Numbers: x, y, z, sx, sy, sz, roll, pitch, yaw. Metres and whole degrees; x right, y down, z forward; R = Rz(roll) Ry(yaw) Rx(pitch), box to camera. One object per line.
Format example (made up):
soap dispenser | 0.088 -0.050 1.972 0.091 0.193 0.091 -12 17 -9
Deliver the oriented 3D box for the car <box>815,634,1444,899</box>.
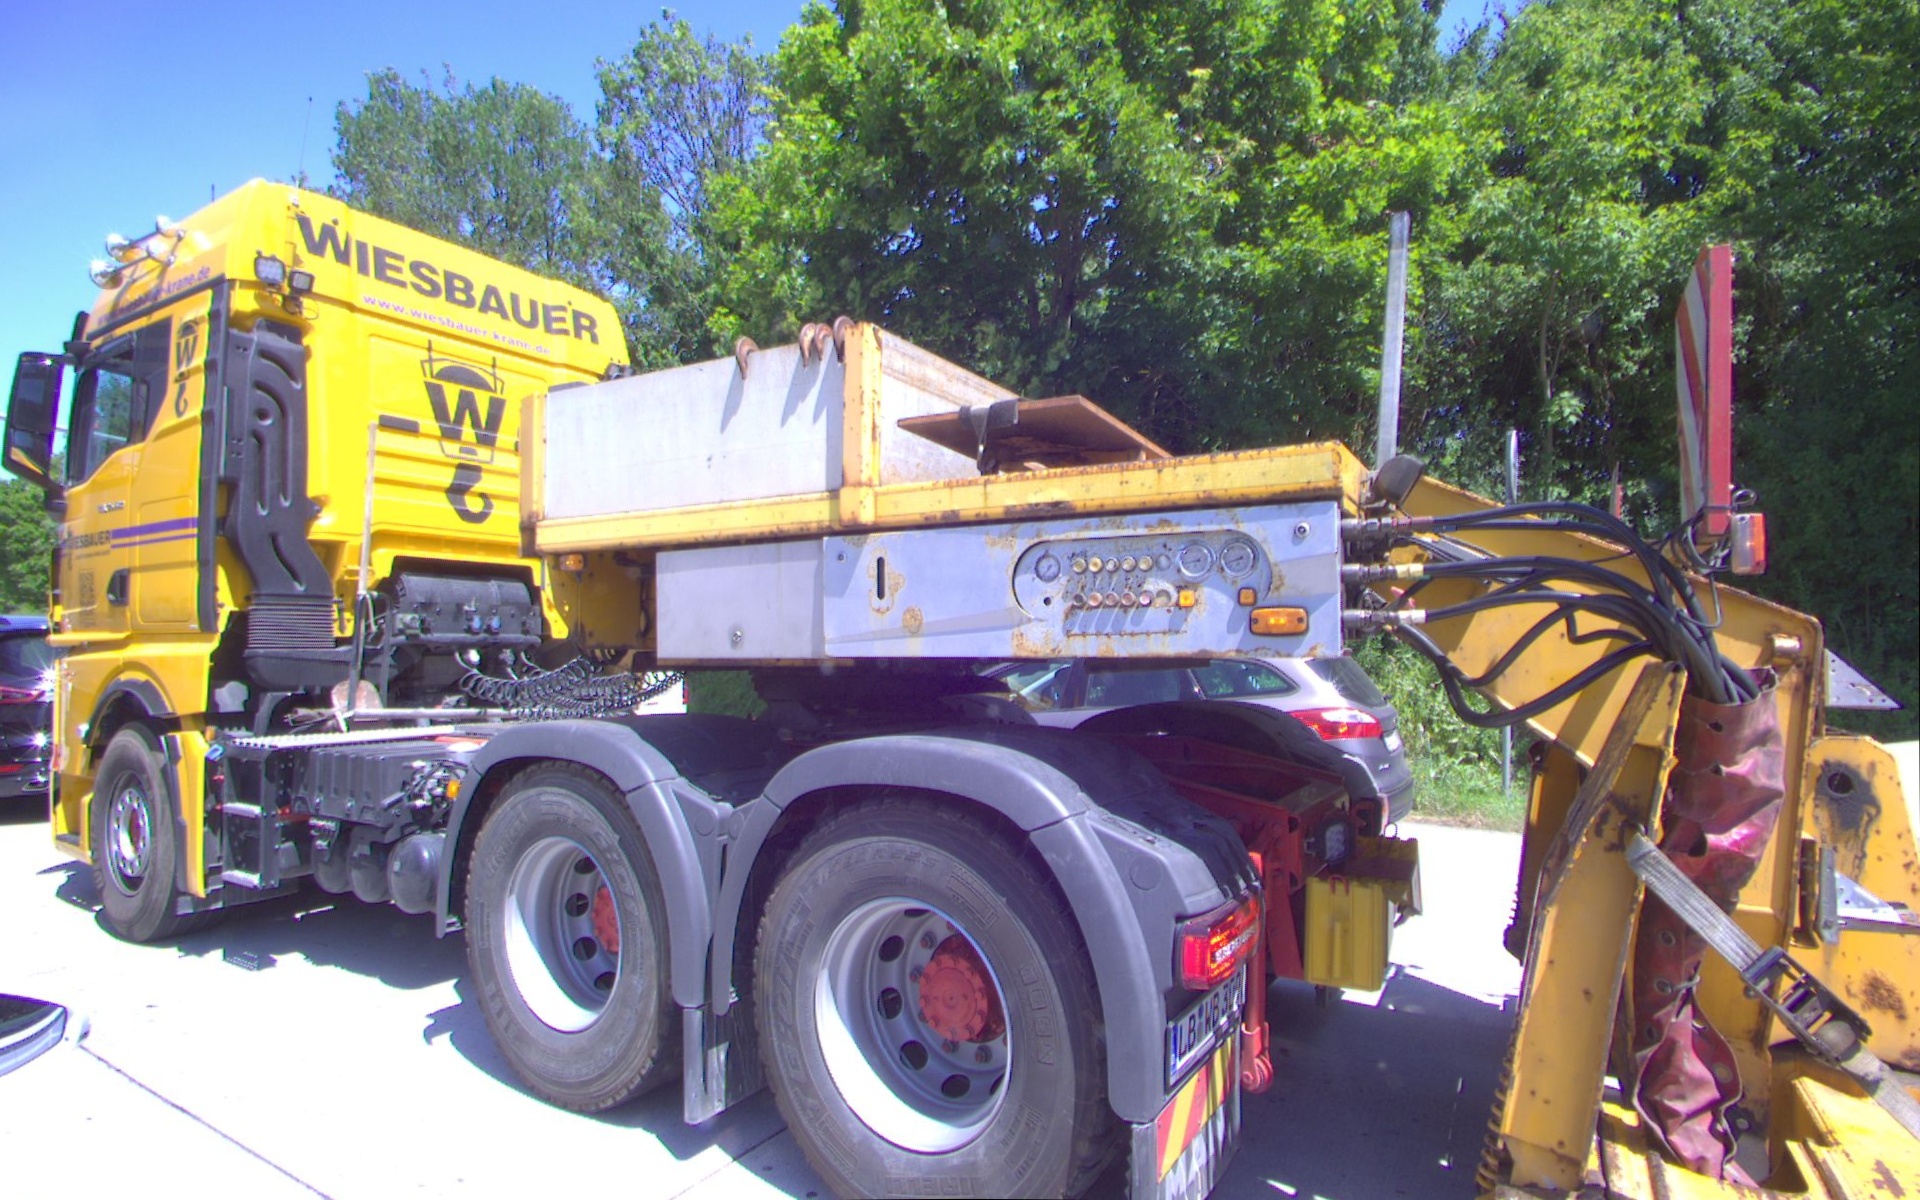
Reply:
car | 1.155 1.004 7.478 4.300 1.480 1.765 -1 -2 31

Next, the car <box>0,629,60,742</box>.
car | -14.199 1.125 13.768 4.548 1.428 1.763 -2 -2 35

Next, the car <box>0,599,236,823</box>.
car | -8.680 0.897 9.268 4.584 1.660 1.779 -1 -2 35

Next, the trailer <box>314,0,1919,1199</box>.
trailer | 5.403 0.202 0.629 16.117 2.626 3.023 -1 -2 31

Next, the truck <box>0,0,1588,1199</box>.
truck | -1.413 -0.325 4.781 7.361 3.821 3.010 -1 -2 31

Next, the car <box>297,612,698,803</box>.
car | -5.397 1.106 11.537 4.720 1.830 1.766 -1 -2 29

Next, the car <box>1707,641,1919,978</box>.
car | 6.178 0.928 4.319 4.530 1.481 1.766 -1 -2 30
